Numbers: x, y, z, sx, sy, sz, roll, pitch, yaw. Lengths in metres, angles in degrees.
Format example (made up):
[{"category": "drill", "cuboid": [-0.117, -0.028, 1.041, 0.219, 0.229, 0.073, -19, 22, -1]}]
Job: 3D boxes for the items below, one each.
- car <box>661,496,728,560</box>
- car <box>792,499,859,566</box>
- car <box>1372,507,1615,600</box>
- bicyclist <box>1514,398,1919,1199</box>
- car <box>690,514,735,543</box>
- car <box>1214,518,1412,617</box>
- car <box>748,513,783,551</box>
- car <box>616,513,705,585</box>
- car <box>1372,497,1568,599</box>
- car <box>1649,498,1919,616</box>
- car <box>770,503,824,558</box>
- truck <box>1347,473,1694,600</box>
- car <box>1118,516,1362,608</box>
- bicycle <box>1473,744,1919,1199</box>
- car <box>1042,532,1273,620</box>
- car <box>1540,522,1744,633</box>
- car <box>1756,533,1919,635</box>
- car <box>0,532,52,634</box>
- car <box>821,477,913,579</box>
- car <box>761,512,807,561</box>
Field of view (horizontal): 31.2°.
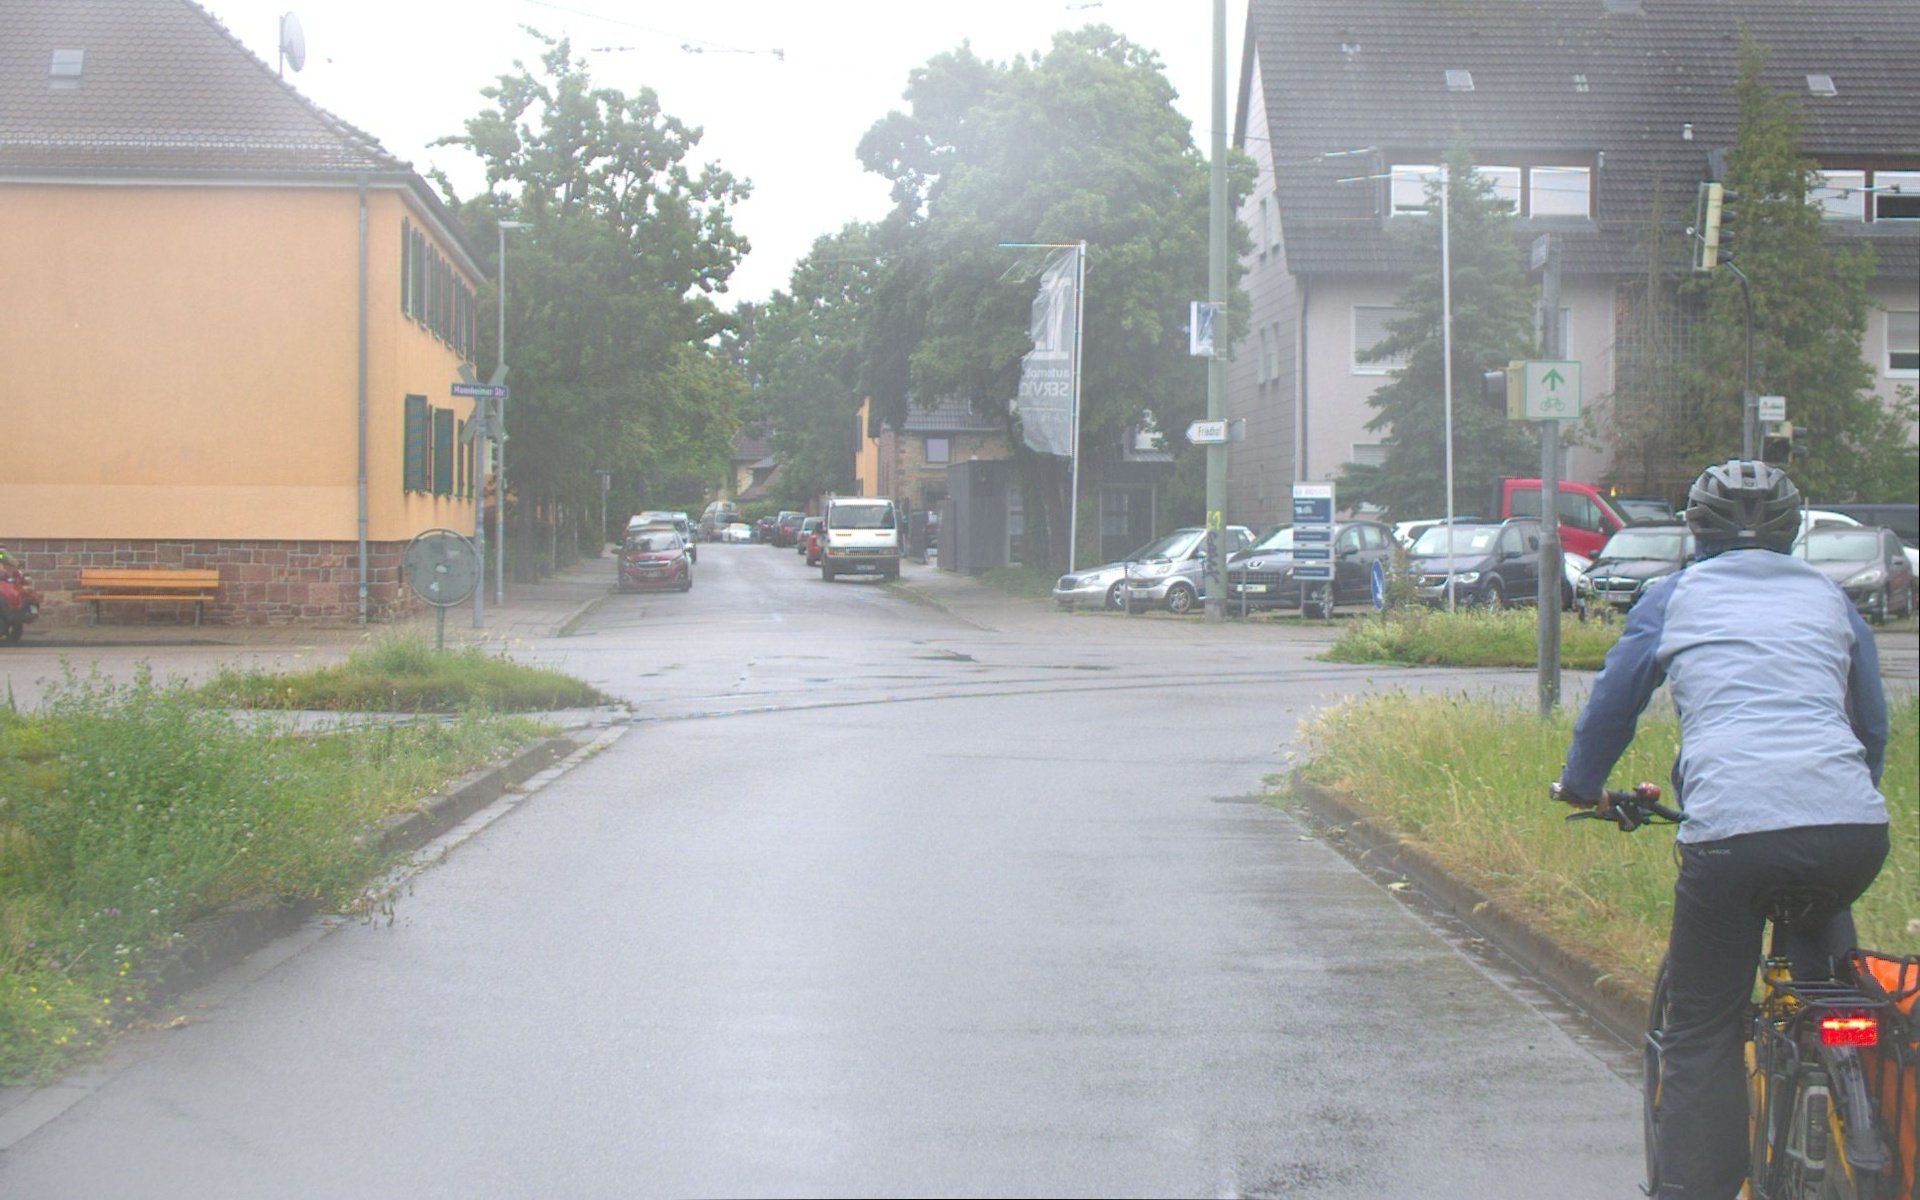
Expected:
[{"category": "car", "cuboid": [-8.753, -2.392, 113.689, 1.993, 2.007, 4.001, 2, 1, -2]}, {"category": "car", "cuboid": [-4.279, -2.153, 109.366, 1.993, 2.007, 4.001, 2, 1, -2]}, {"category": "car", "cuboid": [9.433, -0.817, 60.677, 3.969, 1.592, 1.998, 0, 0, 18]}, {"category": "bicyclist", "cuboid": [1.464, 0.390, 6.282, 0.751, 1.480, 0.846, -1, 1, 0]}, {"category": "car", "cuboid": [-15.701, -4.532, 218.042, 1.828, 1.691, 4.033, 2, 1, -19]}, {"category": "car", "cuboid": [5.869, -0.565, 56.868, 1.805, 1.573, 3.865, 0, 1, 31]}, {"category": "car", "cuboid": [-11.026, -3.850, 194.455, 1.828, 2.007, 4.001, 2, 1, -5]}, {"category": "car", "cuboid": [-6.925, -1.182, 79.807, 1.993, 1.612, 4.001, 0, 1, -4]}, {"category": "car", "cuboid": [8.271, -0.856, 55.527, 1.805, 1.573, 3.865, 0, 1, 31]}, {"category": "car", "cuboid": [14.409, -0.736, 59.809, 4.432, 2.007, 2.000, 0, 0, 0]}, {"category": "car", "cuboid": [-6.178, -2.642, 130.252, 1.828, 2.007, 4.001, 2, 1, -5]}, {"category": "truck", "cuboid": [10.342, -1.153, 63.442, 6.088, 2.264, 1.998, 0, 0, 18]}, {"category": "car", "cuboid": [4.903, -0.683, 60.250, 3.858, 1.573, 1.808, -1, 1, -22]}, {"category": "bicycle", "cuboid": [1.471, 0.864, 6.334, 0.752, 1.069, 1.927, -1, 1, 0]}, {"category": "car", "cuboid": [3.645, -0.462, 63.528, 3.858, 1.573, 1.808, -1, 1, -22]}, {"category": "car", "cuboid": [10.967, -0.389, 55.075, 1.997, 1.711, 3.993, 0, 1, 31]}, {"category": "car", "cuboid": [14.147, -0.259, 54.982, 1.830, 1.499, 4.052, 3, 1, 26]}, {"category": "car", "cuboid": [-14.454, -0.303, 47.101, 3.604, 1.334, 1.723, 2, 1, -5]}, {"category": "car", "cuboid": [-2.520, -1.926, 92.015, 2.153, 2.563, 4.134, 2, 1, -5]}, {"category": "car", "cuboid": [-7.626, -2.771, 148.706, 1.828, 2.007, 4.001, 2, 1, -5]}]
